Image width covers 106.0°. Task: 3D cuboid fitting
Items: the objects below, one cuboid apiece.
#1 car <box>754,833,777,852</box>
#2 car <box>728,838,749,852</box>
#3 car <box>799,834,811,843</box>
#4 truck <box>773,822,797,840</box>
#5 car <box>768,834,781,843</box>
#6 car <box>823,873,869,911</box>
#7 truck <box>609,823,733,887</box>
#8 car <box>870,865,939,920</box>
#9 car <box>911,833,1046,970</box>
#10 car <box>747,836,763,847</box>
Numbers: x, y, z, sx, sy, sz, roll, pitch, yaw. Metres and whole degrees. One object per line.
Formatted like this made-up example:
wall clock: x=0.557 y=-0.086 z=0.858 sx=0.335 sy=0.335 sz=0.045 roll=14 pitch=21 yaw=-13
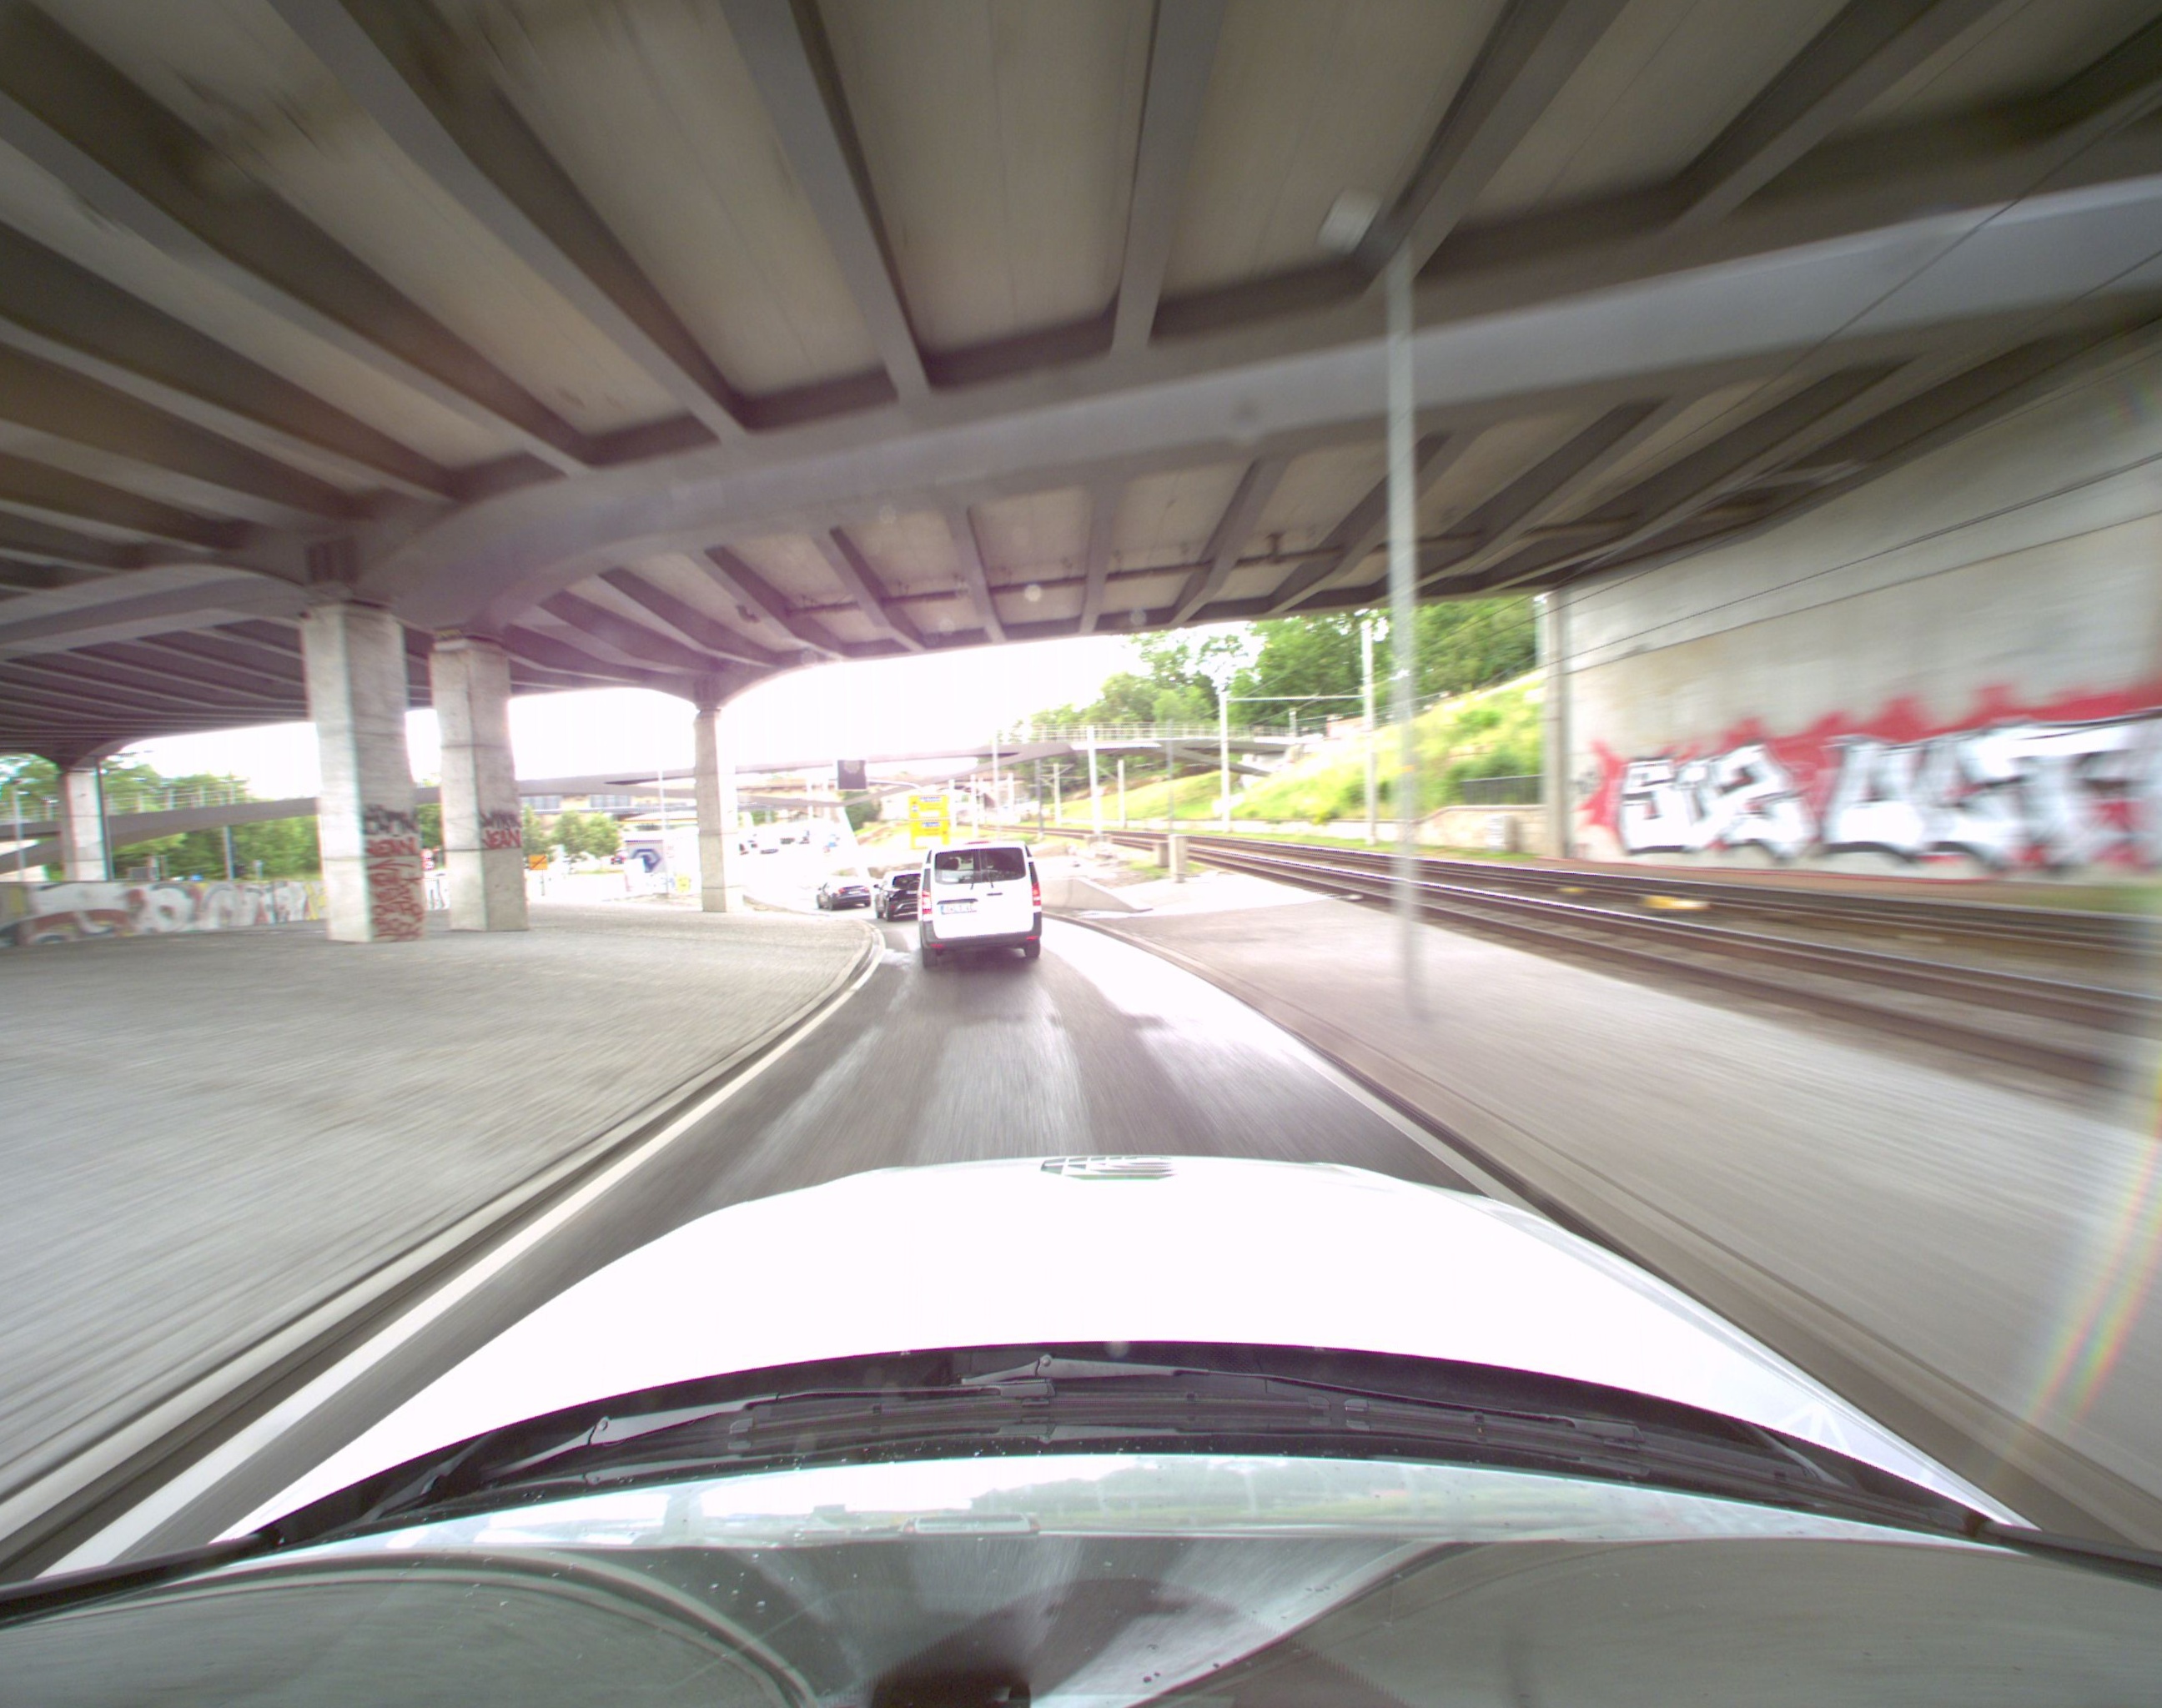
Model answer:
car: x=-37.788 y=-1.391 z=97.649 sx=1.901 sy=2.115 sz=4.463 roll=-2 pitch=1 yaw=-14
car: x=-41.769 y=-1.143 z=99.495 sx=1.647 sy=1.620 sz=3.982 roll=-2 pitch=2 yaw=-13
car: x=-46.492 y=-2.601 z=137.047 sx=1.627 sy=1.585 sz=3.979 roll=-2 pitch=1 yaw=-16
truck: x=-53.516 y=-4.109 z=147.556 sx=3.400 sy=3.149 sz=7.220 roll=0 pitch=0 yaw=-14
car: x=-51.984 y=-2.614 z=138.138 sx=1.627 sy=1.585 sz=3.979 roll=-2 pitch=1 yaw=-16
car: x=-11.047 y=1.727 z=38.153 sx=1.508 sy=1.468 sz=3.371 roll=-7 pitch=3 yaw=-24
truck: x=-29.909 y=-0.239 z=60.737 sx=3.316 sy=3.808 sz=16.545 roll=-1 pitch=3 yaw=-9
car: x=-6.012 y=1.219 z=27.376 sx=1.755 sy=1.625 sz=3.819 roll=-3 pitch=0 yaw=-19
car: x=-1.902 y=0.738 z=14.272 sx=1.877 sy=1.891 sz=4.735 roll=-3 pitch=-1 yaw=-10
car: x=-48.004 y=-1.847 z=120.074 sx=1.531 sy=1.508 sz=3.983 roll=-2 pitch=1 yaw=-13
